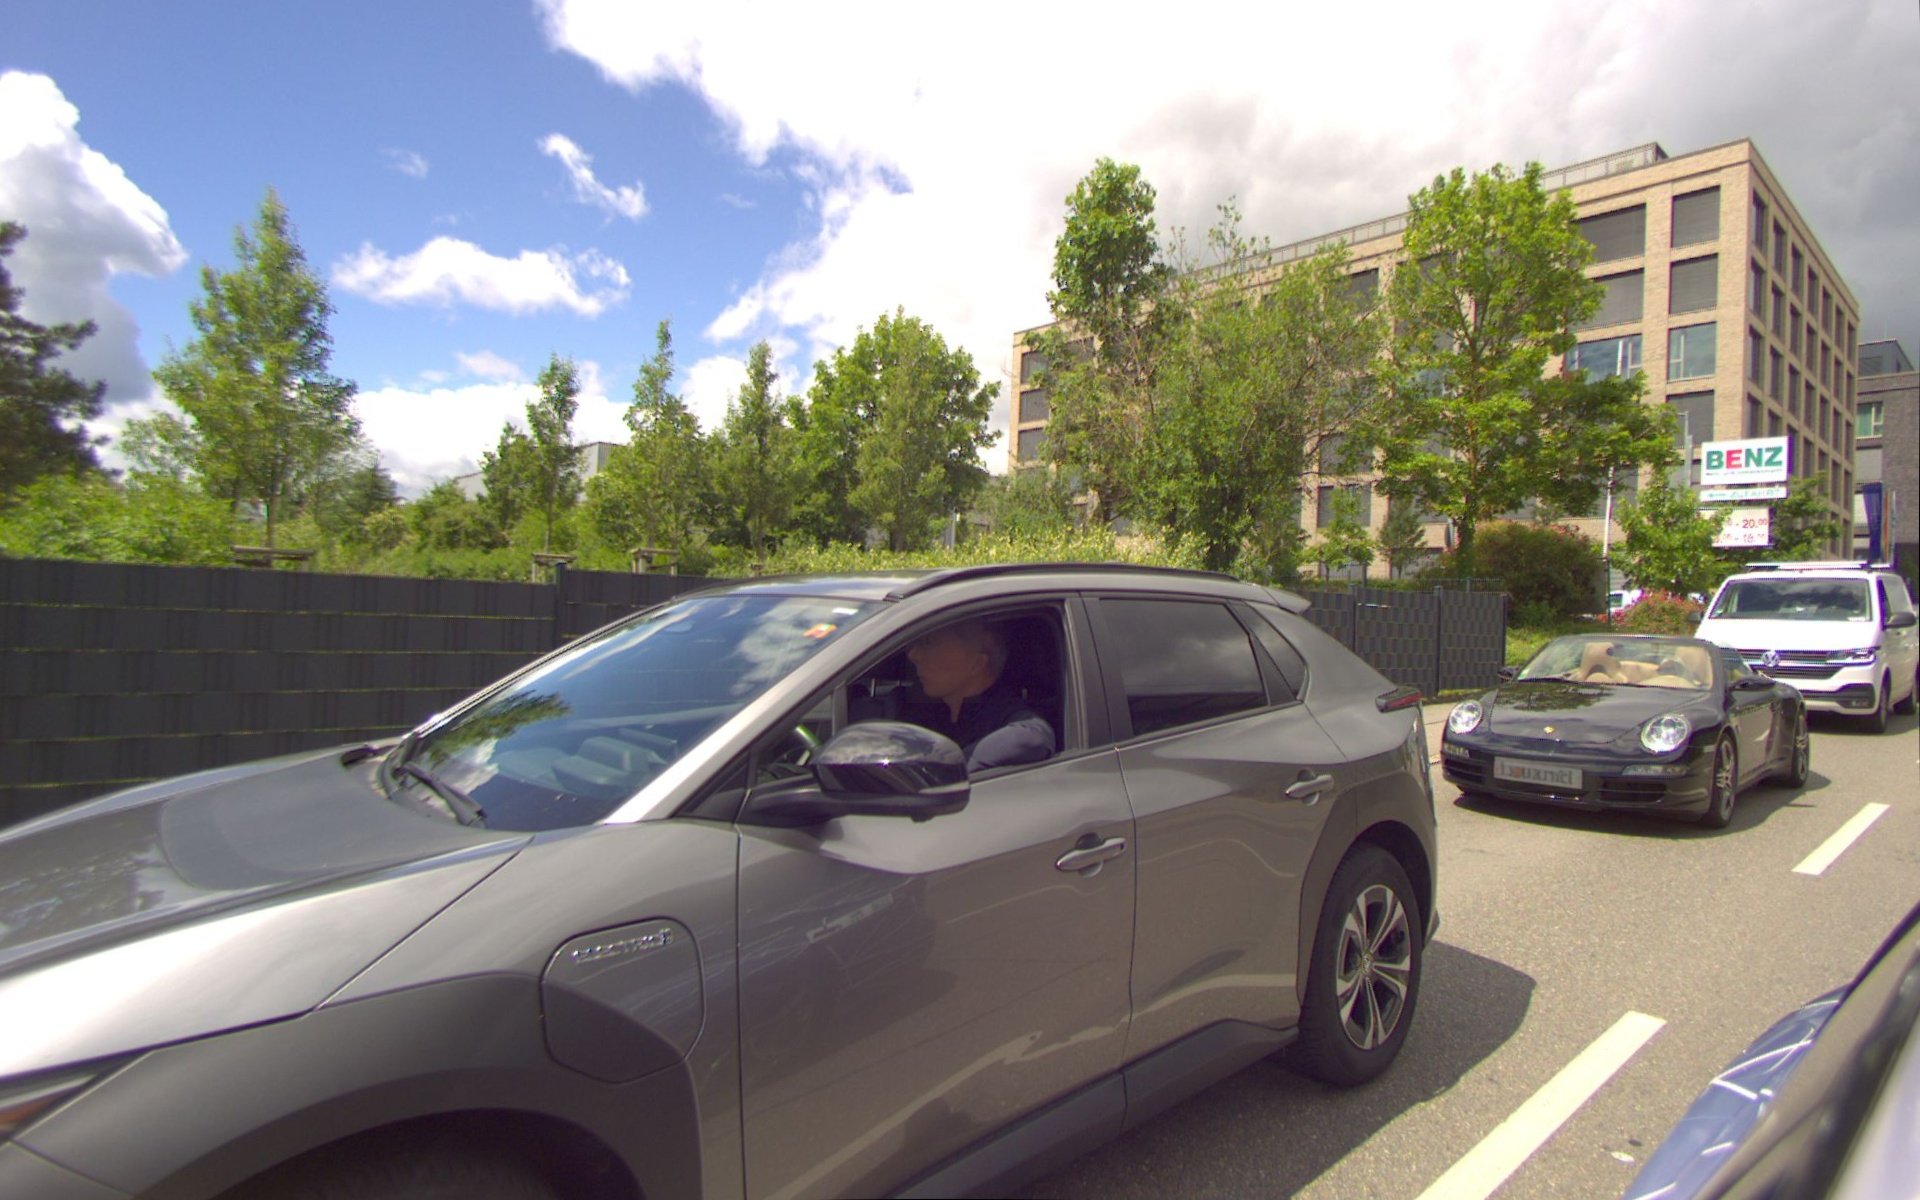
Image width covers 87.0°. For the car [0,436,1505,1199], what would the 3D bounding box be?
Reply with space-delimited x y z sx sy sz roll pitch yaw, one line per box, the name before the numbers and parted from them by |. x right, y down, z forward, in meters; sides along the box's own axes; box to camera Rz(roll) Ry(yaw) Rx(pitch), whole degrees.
car | -0.355 0.633 2.952 4.501 1.649 1.997 0 1 -42

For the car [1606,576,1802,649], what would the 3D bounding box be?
car | 19.906 0.274 27.202 1.793 1.754 3.991 0 2 -44

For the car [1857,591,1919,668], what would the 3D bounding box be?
car | 20.239 0.578 21.076 3.930 1.481 1.817 0 2 -41

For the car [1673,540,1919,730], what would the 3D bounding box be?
car | 11.336 0.373 13.354 4.677 2.075 2.087 0 0 -41

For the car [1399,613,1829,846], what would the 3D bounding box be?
car | 5.288 0.790 7.992 3.967 1.310 1.823 0 0 -41
